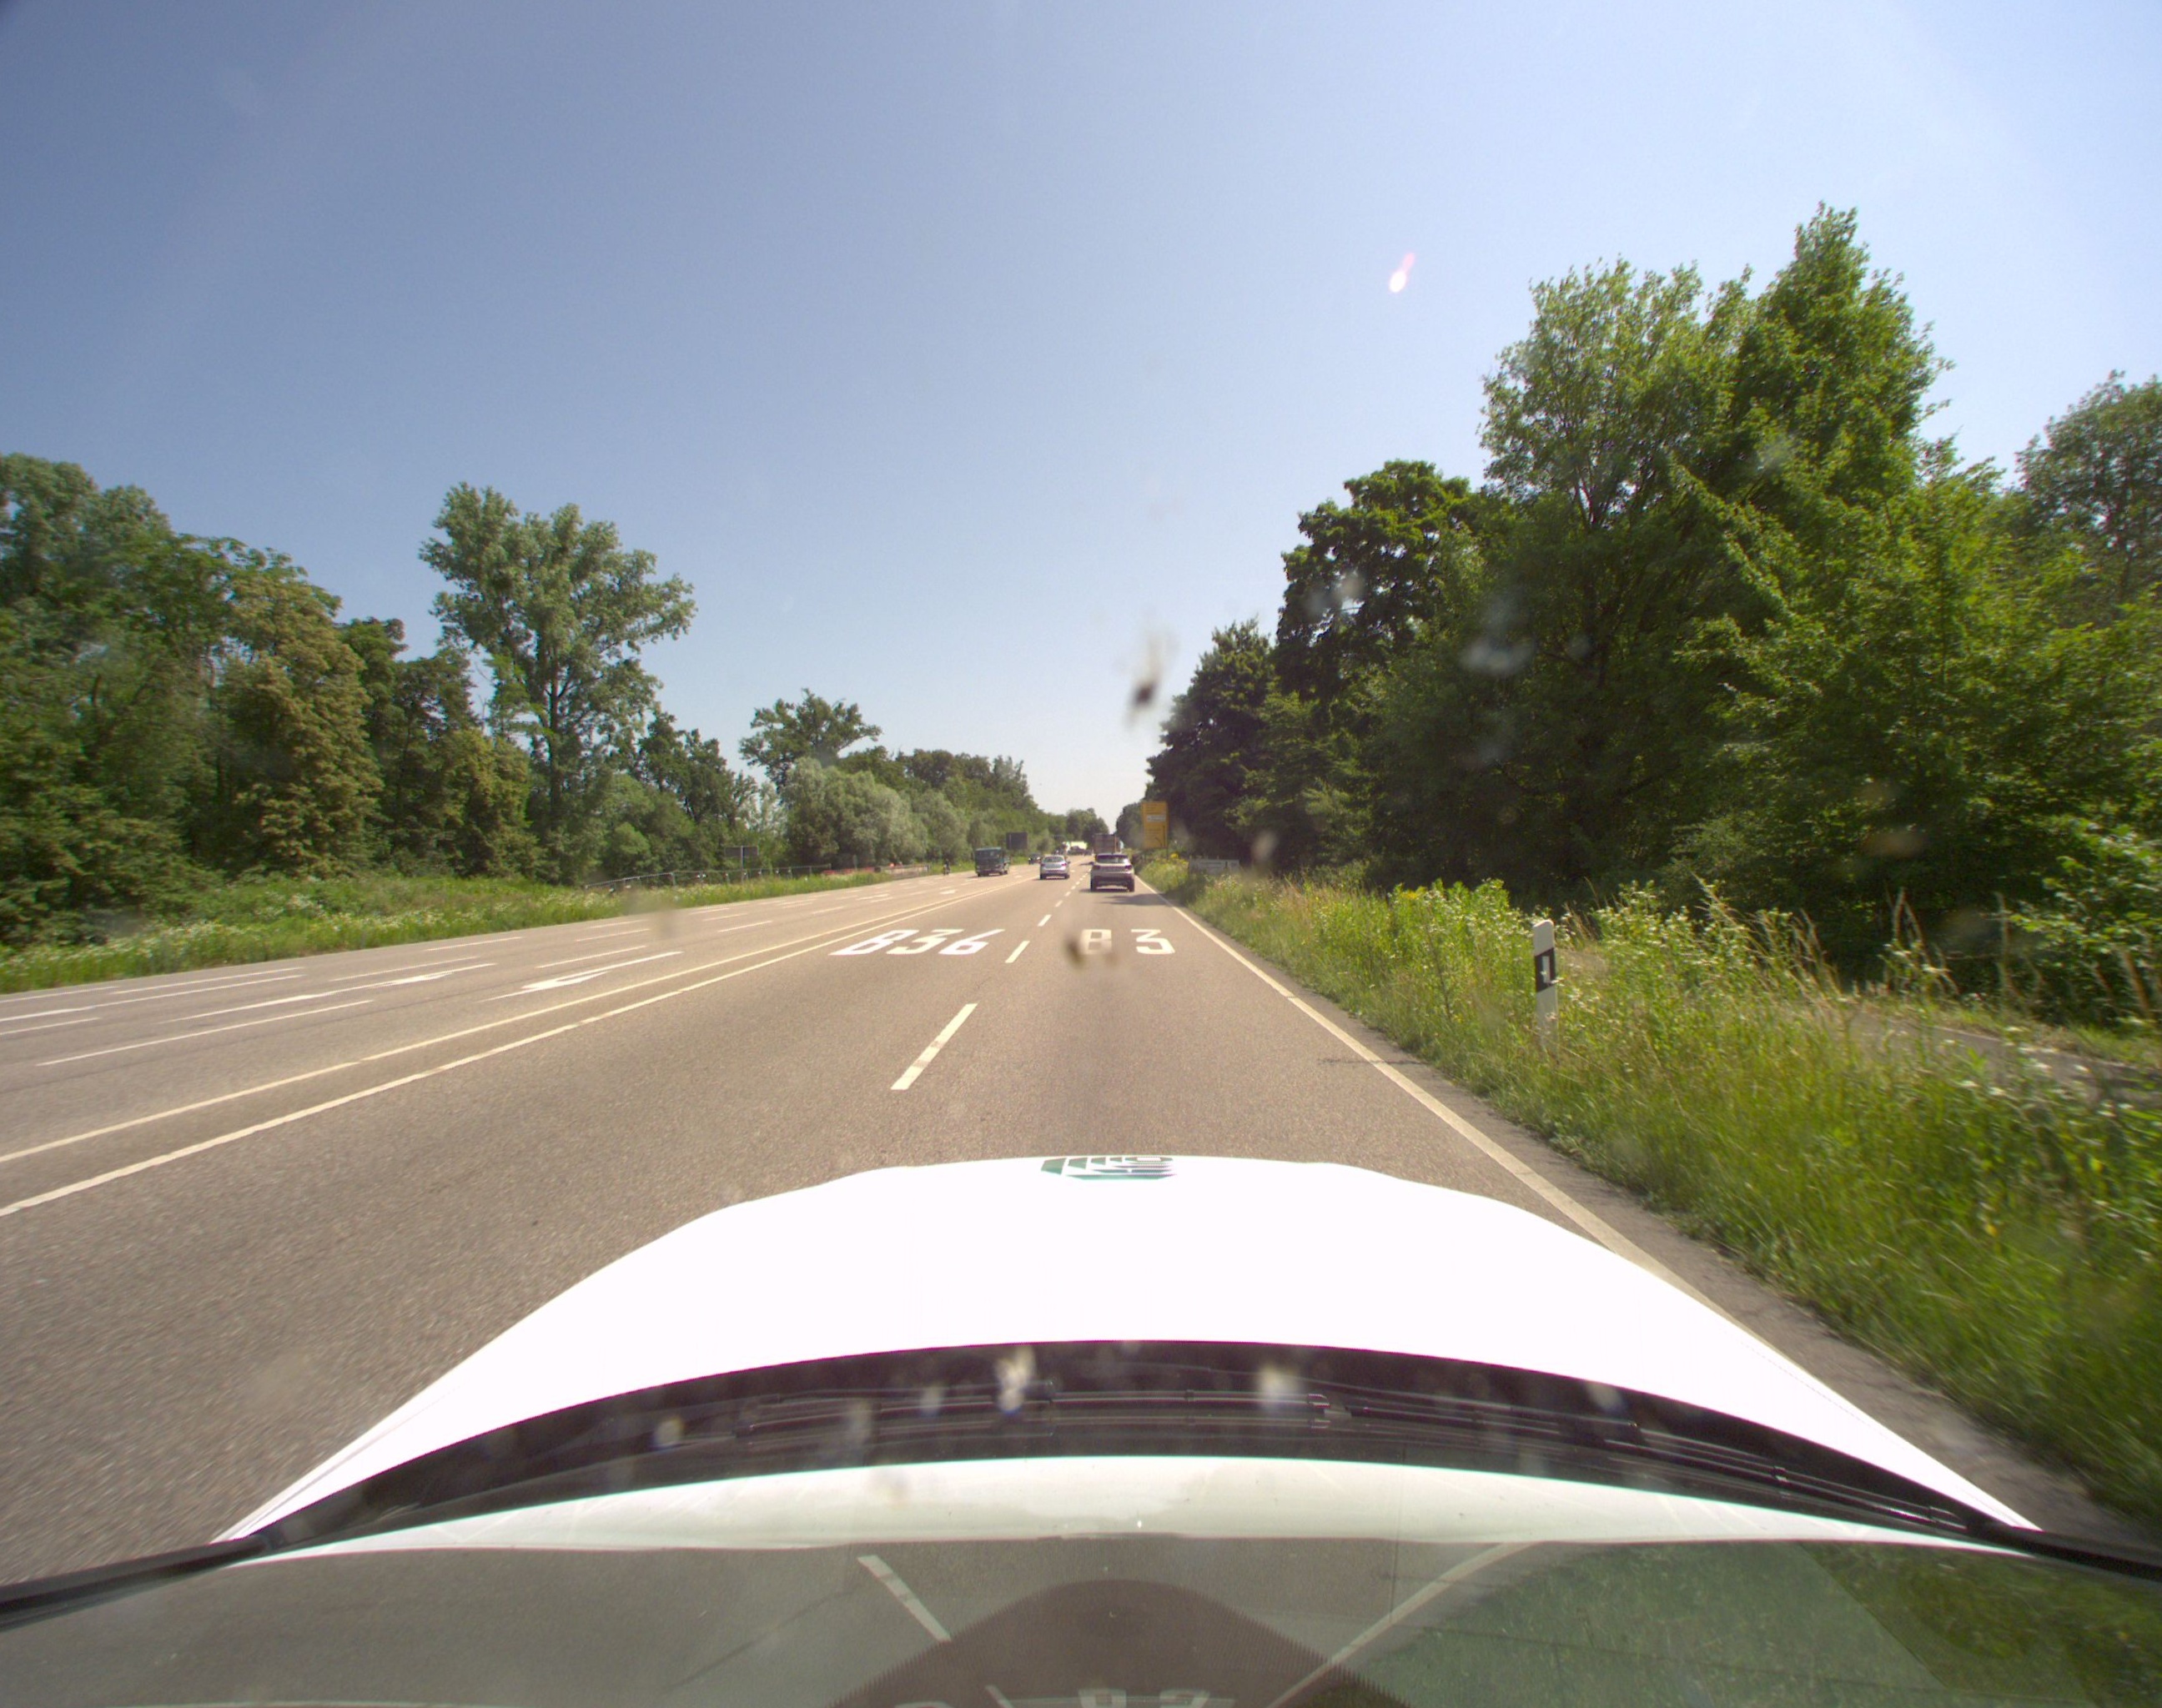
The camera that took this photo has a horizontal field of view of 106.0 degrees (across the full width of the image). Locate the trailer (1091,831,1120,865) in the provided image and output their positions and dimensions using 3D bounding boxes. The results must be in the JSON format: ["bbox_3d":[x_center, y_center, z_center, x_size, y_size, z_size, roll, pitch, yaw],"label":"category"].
[{"bbox_3d":[3.136,-0.692,102.814,3.369,3.988,10.812,-1,0,3],"label":"trailer"}]

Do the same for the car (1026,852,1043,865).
[{"bbox_3d":[-7.391,0.745,130.053,1.985,1.881,4.963,-3,0,3],"label":"car"}]

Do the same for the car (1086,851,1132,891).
[{"bbox_3d":[1.217,0.657,33.731,1.760,1.535,4.003,-1,0,3],"label":"car"}]

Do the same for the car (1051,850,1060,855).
[{"bbox_3d":[-7.989,-0.344,255.936,1.995,1.585,3.984,-1,0,-12],"label":"car"}]

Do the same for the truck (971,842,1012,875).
[{"bbox_3d":[-7.909,0.336,72.719,2.444,2.656,6.496,-5,0,3],"label":"truck"}]

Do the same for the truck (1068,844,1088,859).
[{"bbox_3d":[-0.845,-0.625,229.413,3.647,4.105,9.473,-3,0,-11],"label":"truck"}]

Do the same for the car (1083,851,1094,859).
[{"bbox_3d":[1.933,0.279,210.498,1.993,2.013,4.540,-3,0,-9],"label":"car"}]

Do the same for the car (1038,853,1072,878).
[{"bbox_3d":[-1.532,0.674,49.281,1.659,1.430,3.831,-1,0,3],"label":"car"}]

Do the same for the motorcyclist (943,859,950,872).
[{"bbox_3d":[-14.240,1.217,86.115,0.575,1.353,0.754,-3,0,0],"label":"motorcyclist"}]

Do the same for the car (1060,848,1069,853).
[{"bbox_3d":[-5.081,-1.010,245.134,1.995,1.585,3.984,-1,0,-12],"label":"car"}]

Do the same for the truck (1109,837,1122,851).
[{"bbox_3d":[10.267,-2.902,242.934,3.484,4.187,10.788,-1,0,2],"label":"truck"}]

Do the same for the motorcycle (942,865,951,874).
[{"bbox_3d":[-14.220,1.633,86.033,0.515,0.893,1.910,-3,0,0],"label":"motorcycle"}]
